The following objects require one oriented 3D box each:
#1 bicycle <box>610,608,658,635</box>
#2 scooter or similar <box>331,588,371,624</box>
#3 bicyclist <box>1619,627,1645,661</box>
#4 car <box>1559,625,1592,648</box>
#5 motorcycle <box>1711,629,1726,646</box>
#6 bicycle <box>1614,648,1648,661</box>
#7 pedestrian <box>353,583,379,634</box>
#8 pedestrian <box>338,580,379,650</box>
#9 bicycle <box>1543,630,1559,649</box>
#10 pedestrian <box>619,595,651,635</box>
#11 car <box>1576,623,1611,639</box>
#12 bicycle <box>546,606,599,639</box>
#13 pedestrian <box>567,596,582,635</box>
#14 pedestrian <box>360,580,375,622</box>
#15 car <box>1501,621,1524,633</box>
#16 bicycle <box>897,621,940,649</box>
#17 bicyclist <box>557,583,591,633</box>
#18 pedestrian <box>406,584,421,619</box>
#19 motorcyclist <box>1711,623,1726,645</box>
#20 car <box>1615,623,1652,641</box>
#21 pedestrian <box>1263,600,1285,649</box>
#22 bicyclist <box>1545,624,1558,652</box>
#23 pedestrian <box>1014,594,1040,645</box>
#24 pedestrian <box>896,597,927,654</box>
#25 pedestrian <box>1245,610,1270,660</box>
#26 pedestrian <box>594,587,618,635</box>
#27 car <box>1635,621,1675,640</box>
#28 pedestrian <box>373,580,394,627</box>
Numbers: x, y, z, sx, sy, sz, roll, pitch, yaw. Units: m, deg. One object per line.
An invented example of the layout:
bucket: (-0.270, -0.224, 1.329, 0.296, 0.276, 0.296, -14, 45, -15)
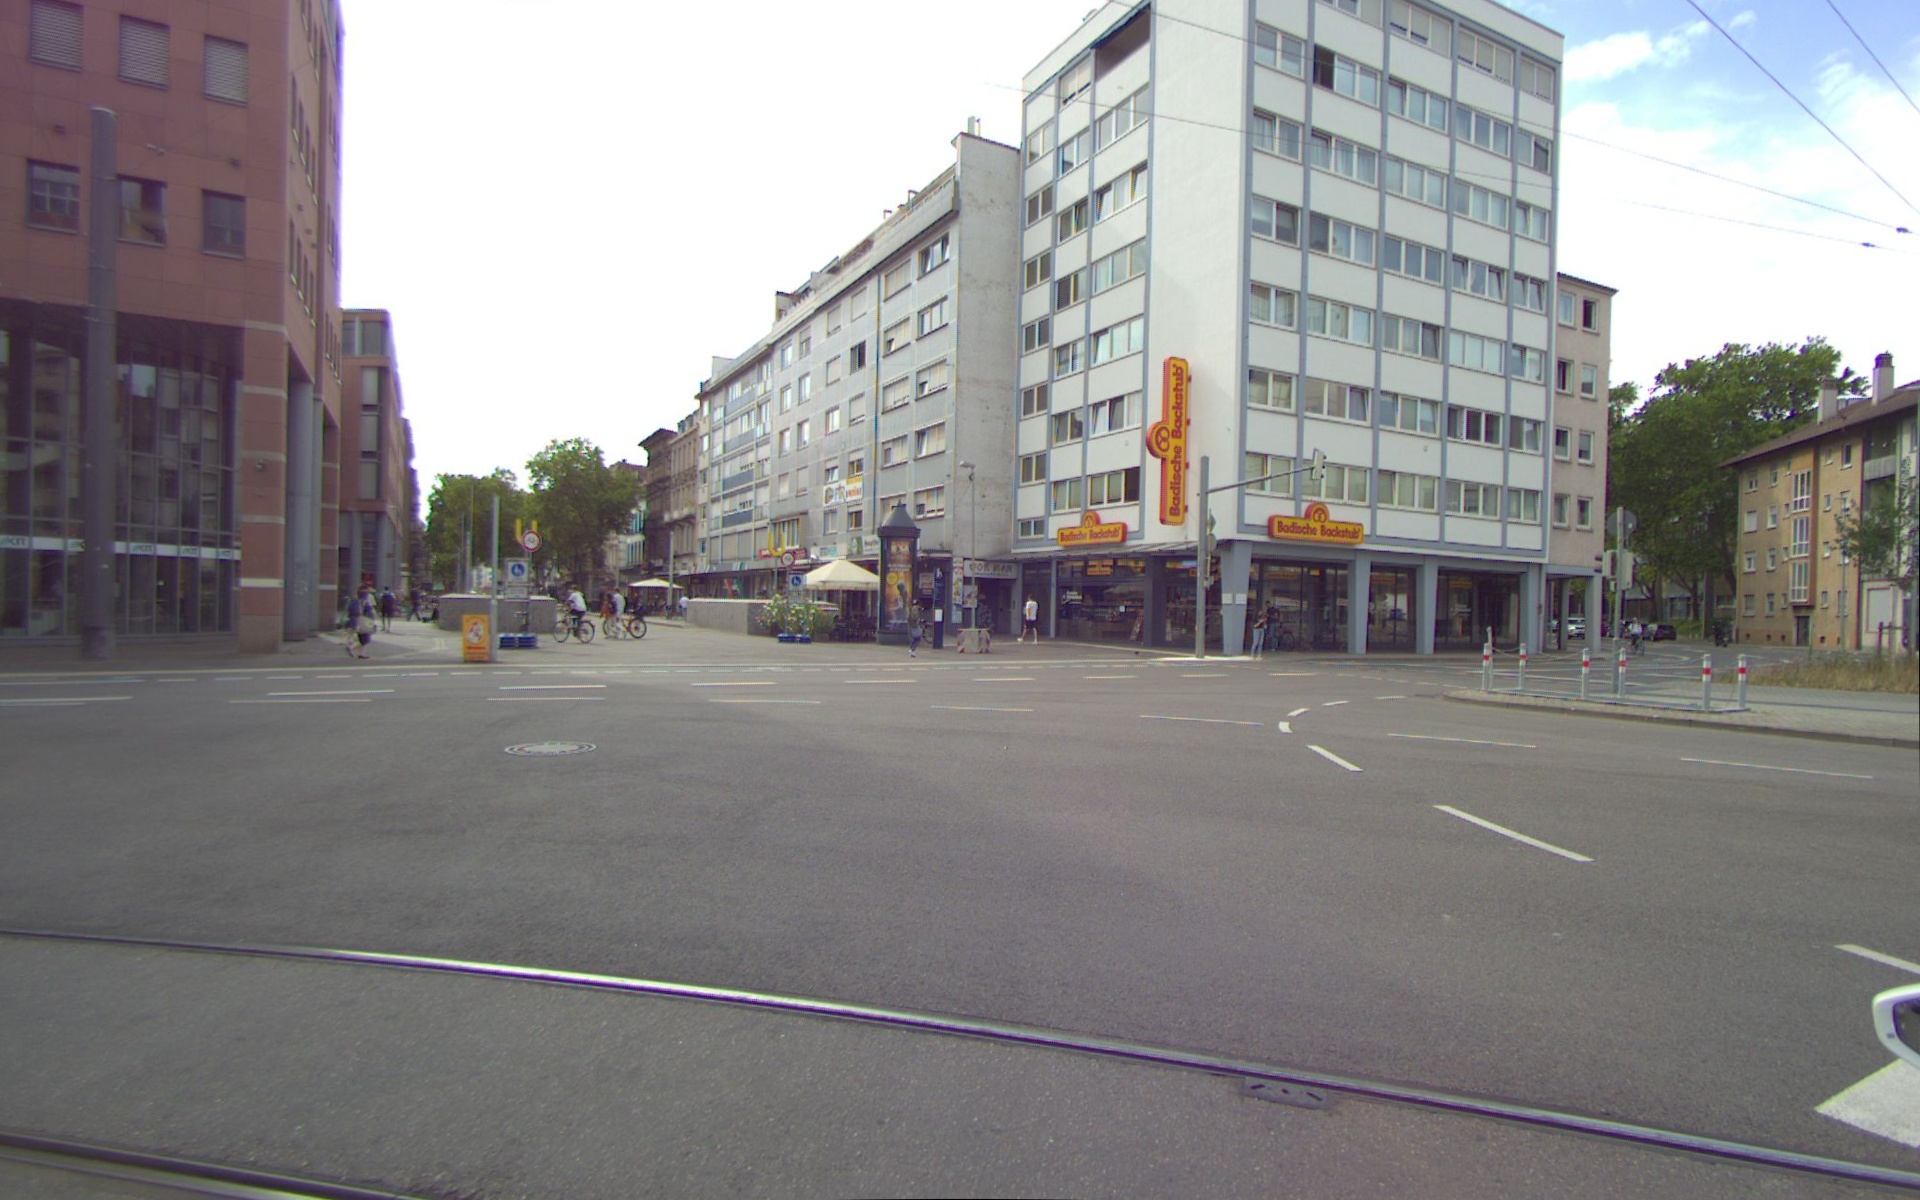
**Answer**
bicycle: (-11.880, 0.789, 36.572, 1.754, 0.900, 0.473, 2, 0, 22)
scooter or similar: (-21.269, 0.205, 35.056, 1.267, 1.184, 0.383, 2, 0, 15)
bicyclist: (33.519, 2.205, 50.098, 1.024, 1.668, 0.606, 2, 0, -25)
car: (48.280, 2.812, 78.840, 1.804, 1.682, 4.319, 2, 0, 27)
motorcycle: (47.367, 2.318, 62.747, 0.332, 1.021, 1.266, 2, 0, 18)
bicycle: (33.558, 2.718, 50.228, 1.971, 0.596, 0.482, 2, 0, -26)
pedestrian: (-17.635, 0.247, 29.814, 0.573, 1.492, 0.651, 2, 0, -27)
pedestrian: (-13.187, 0.320, 22.025, 0.676, 1.492, 0.793, 2, 0, -27)
bicycle: (38.875, 2.592, 66.089, 0.503, 1.241, 1.564, 2, -1, 17)
pedestrian: (-11.830, 0.538, 36.550, 0.848, 1.393, 0.632, 2, 0, 20)
car: (62.768, 3.051, 99.601, 1.647, 1.412, 4.463, 3, -1, 16)
bicycle: (-12.739, 0.723, 33.031, 1.754, 1.002, 0.473, 2, 0, 22)
pedestrian: (-16.094, 0.648, 41.897, 0.514, 1.598, 0.504, 2, 0, -26)
pedestrian: (-24.185, 0.049, 41.021, 0.458, 1.685, 0.517, 2, 0, -27)
car: (73.115, 3.556, 132.947, 1.647, 1.412, 4.463, 3, -1, 16)
bicycle: (-1.612, 1.373, 39.202, 1.760, 1.002, 0.471, 2, 0, 38)
bicyclist: (-12.611, 0.256, 32.802, 0.866, 1.590, 0.546, 2, 0, 22)
pedestrian: (-26.489, 0.068, 48.696, 0.573, 1.685, 0.517, 2, 0, -27)
motorcyclist: (47.361, 2.098, 62.706, 0.514, 1.330, 0.677, 2, 0, 19)
car: (60.284, 2.848, 89.957, 1.630, 1.441, 3.948, 2, 0, 17)
pedestrian: (11.633, 0.908, 37.188, 0.582, 1.789, 0.474, 1, 0, -28)
bicyclist: (38.931, 2.492, 66.116, 0.529, 1.766, 0.758, 2, 0, 17)
pedestrian: (2.538, 0.728, 38.181, 0.574, 1.883, 0.858, 2, 0, -29)
pedestrian: (-1.417, 0.740, 29.188, 0.647, 1.615, 0.689, 2, 0, 19)
pedestrian: (9.664, 1.132, 32.637, 0.512, 1.580, 0.496, 2, 0, -32)
pedestrian: (-12.539, 0.396, 35.574, 0.458, 1.663, 0.633, 2, 0, 23)
car: (58.991, 2.586, 85.294, 1.630, 1.441, 3.867, 2, 0, 17)
pedestrian: (-20.965, 0.123, 36.537, 0.573, 1.685, 0.517, 2, 0, -27)
